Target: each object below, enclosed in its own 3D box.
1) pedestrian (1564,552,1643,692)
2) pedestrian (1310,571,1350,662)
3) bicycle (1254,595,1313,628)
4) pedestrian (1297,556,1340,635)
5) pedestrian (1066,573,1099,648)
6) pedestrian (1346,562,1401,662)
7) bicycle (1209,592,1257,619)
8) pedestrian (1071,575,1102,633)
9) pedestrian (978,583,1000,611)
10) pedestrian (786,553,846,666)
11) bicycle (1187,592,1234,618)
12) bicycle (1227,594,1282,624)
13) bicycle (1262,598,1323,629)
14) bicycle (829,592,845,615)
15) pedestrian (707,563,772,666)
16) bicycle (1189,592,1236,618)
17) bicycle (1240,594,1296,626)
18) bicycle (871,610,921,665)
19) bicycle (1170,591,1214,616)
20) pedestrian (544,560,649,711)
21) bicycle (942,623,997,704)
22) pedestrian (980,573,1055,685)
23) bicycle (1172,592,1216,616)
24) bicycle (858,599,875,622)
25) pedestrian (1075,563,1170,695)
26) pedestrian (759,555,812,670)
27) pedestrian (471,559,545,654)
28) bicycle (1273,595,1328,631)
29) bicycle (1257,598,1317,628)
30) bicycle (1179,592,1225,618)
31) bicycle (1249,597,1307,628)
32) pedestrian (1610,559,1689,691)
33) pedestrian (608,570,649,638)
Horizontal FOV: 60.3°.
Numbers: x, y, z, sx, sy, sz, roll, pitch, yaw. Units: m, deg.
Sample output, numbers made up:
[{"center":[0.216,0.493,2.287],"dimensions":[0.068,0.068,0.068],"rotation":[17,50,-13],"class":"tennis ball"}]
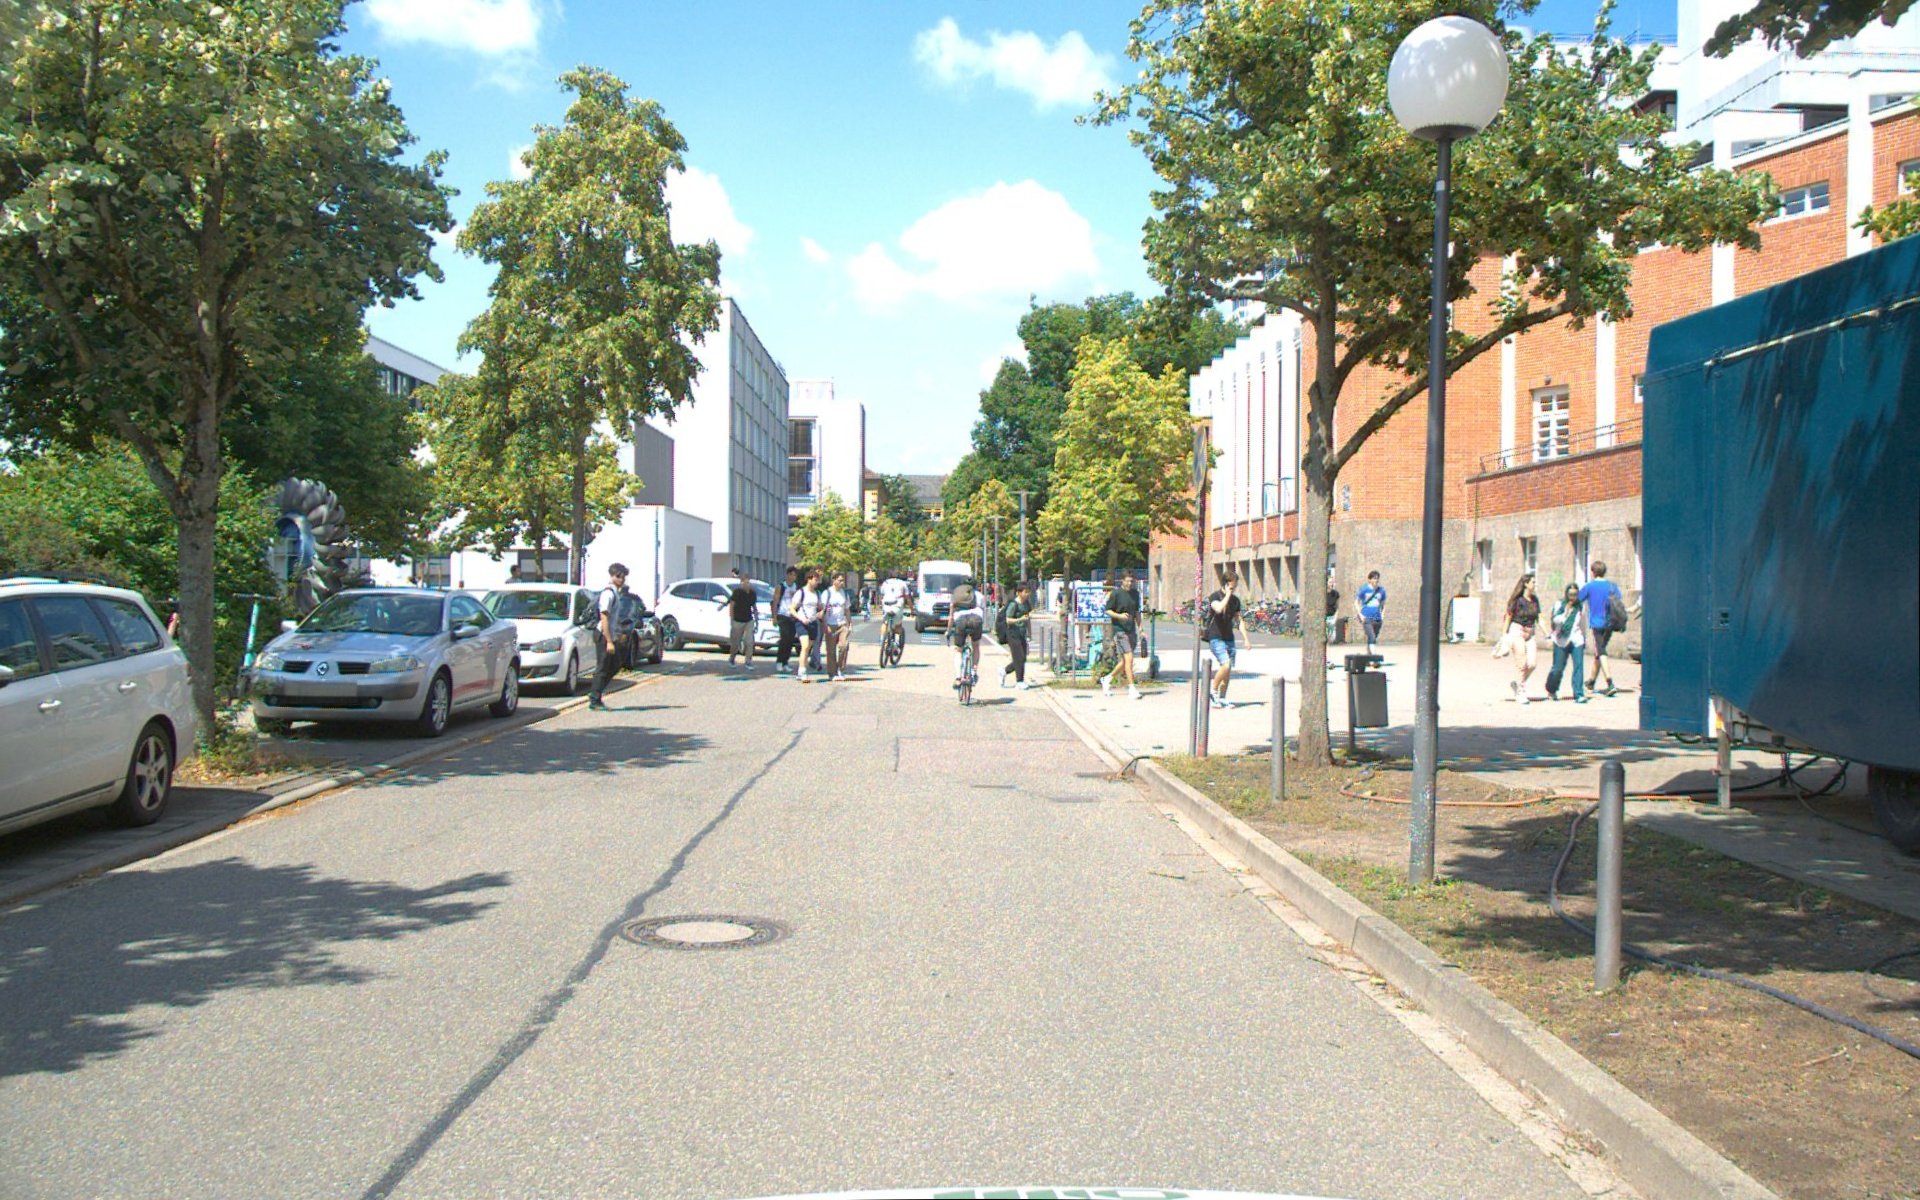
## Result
[{"center":[9.088,0.295,23.382],"dimensions":[0.687,1.924,0.994],"rotation":[-1,1,-1],"class":"pedestrian"},{"center":[6.859,0.297,30.671],"dimensions":[0.492,1.659,0.570],"rotation":[-2,0,-11],"class":"pedestrian"},{"center":[10.370,0.370,53.053],"dimensions":[1.773,1.002,0.560],"rotation":[-1,0,-2],"class":"bicycle"},{"center":[8.806,-0.111,40.613],"dimensions":[0.774,1.892,1.116],"rotation":[0,0,-2],"class":"pedestrian"},{"center":[2.889,0.241,39.114],"dimensions":[0.688,1.724,0.962],"rotation":[0,2,-1],"class":"pedestrian"},{"center":[7.726,0.212,30.923],"dimensions":[0.695,1.819,0.751],"rotation":[-2,0,-11],"class":"pedestrian"},{"center":[10.575,0.225,64.109],"dimensions":[1.773,1.002,0.560],"rotation":[-1,0,-2],"class":"bicycle"},{"center":[3.911,0.110,51.284],"dimensions":[0.836,1.763,1.160],"rotation":[0,0,-2],"class":"pedestrian"},{"center":[2.196,-0.226,124.103],"dimensions":[1.470,2.031,1.645],"rotation":[-3,1,-3],"class":"pedestrian"},{"center":[-2.638,0.173,30.425],"dimensions":[0.809,2.015,0.691],"rotation":[2,-1,21],"class":"pedestrian"},{"center":[10.098,0.212,66.634],"dimensions":[1.773,1.002,0.560],"rotation":[-1,0,-2],"class":"bicycle"},{"center":[10.243,0.300,57.531],"dimensions":[1.773,1.002,0.560],"rotation":[-1,0,-2],"class":"bicycle"},{"center":[10.362,0.422,51.549],"dimensions":[1.773,0.928,0.560],"rotation":[-1,0,-2],"class":"bicycle"},{"center":[-5.409,0.131,72.781],"dimensions":[0.663,0.981,2.002],"rotation":[0,0,-3],"class":"bicycle"},{"center":[-3.978,0.259,29.815],"dimensions":[0.785,1.803,0.854],"rotation":[2,-1,21],"class":"pedestrian"},{"center":[10.298,0.185,67.471],"dimensions":[1.773,1.002,0.560],"rotation":[-1,0,-2],"class":"bicycle"},{"center":[10.364,0.332,55.663],"dimensions":[1.773,1.002,0.560],"rotation":[-1,0,-2],"class":"bicycle"},{"center":[-1.228,0.718,32.033],"dimensions":[0.791,1.020,2.124],"rotation":[1,-1,2],"class":"bicycle"},{"center":[10.027,0.157,71.467],"dimensions":[1.773,1.002,0.560],"rotation":[-1,0,-2],"class":"bicycle"},{"center":[-4.361,0.418,19.901],"dimensions":[1.083,1.746,0.709],"rotation":[2,0,-5],"class":"pedestrian"},{"center":[0.113,0.858,22.962],"dimensions":[0.692,1.010,1.910],"rotation":[1,1,-1],"class":"bicycle"},{"center":[0.925,0.461,26.688],"dimensions":[0.698,1.749,0.978],"rotation":[-2,1,-42],"class":"pedestrian"},{"center":[9.976,0.168,70.502],"dimensions":[1.773,1.002,0.560],"rotation":[-1,0,-2],"class":"bicycle"},{"center":[-4.200,0.464,74.082],"dimensions":[0.663,0.982,2.001],"rotation":[2,-2,-4],"class":"bicycle"},{"center":[2.391,0.431,24.375],"dimensions":[0.848,1.892,1.098],"rotation":[0,-1,-44],"class":"pedestrian"},{"center":[-3.116,0.221,29.518],"dimensions":[0.610,2.015,0.819],"rotation":[0,-1,-32],"class":"pedestrian"},{"center":[-9.661,0.138,35.342],"dimensions":[1.009,1.937,1.161],"rotation":[6,-3,-40],"class":"pedestrian"},{"center":[10.212,0.384,49.612],"dimensions":[1.504,1.051,0.560],"rotation":[-1,0,-2],"class":"bicycle"},{"center":[10.363,0.411,52.404],"dimensions":[1.773,0.928,0.560],"rotation":[-1,0,-2],"class":"bicycle"},{"center":[9.959,0.196,68.165],"dimensions":[1.773,1.002,0.560],"rotation":[-1,0,-2],"class":"bicycle"},{"center":[10.341,0.405,53.809],"dimensions":[1.773,0.928,0.560],"rotation":[-1,0,-2],"class":"bicycle"},{"center":[9.866,0.343,23.697],"dimensions":[0.687,1.835,0.993],"rotation":[-1,1,-2],"class":"pedestrian"},{"center":[-8.880,0.114,44.344],"dimensions":[0.962,1.816,0.668],"rotation":[0,-1,-4],"class":"pedestrian"}]
